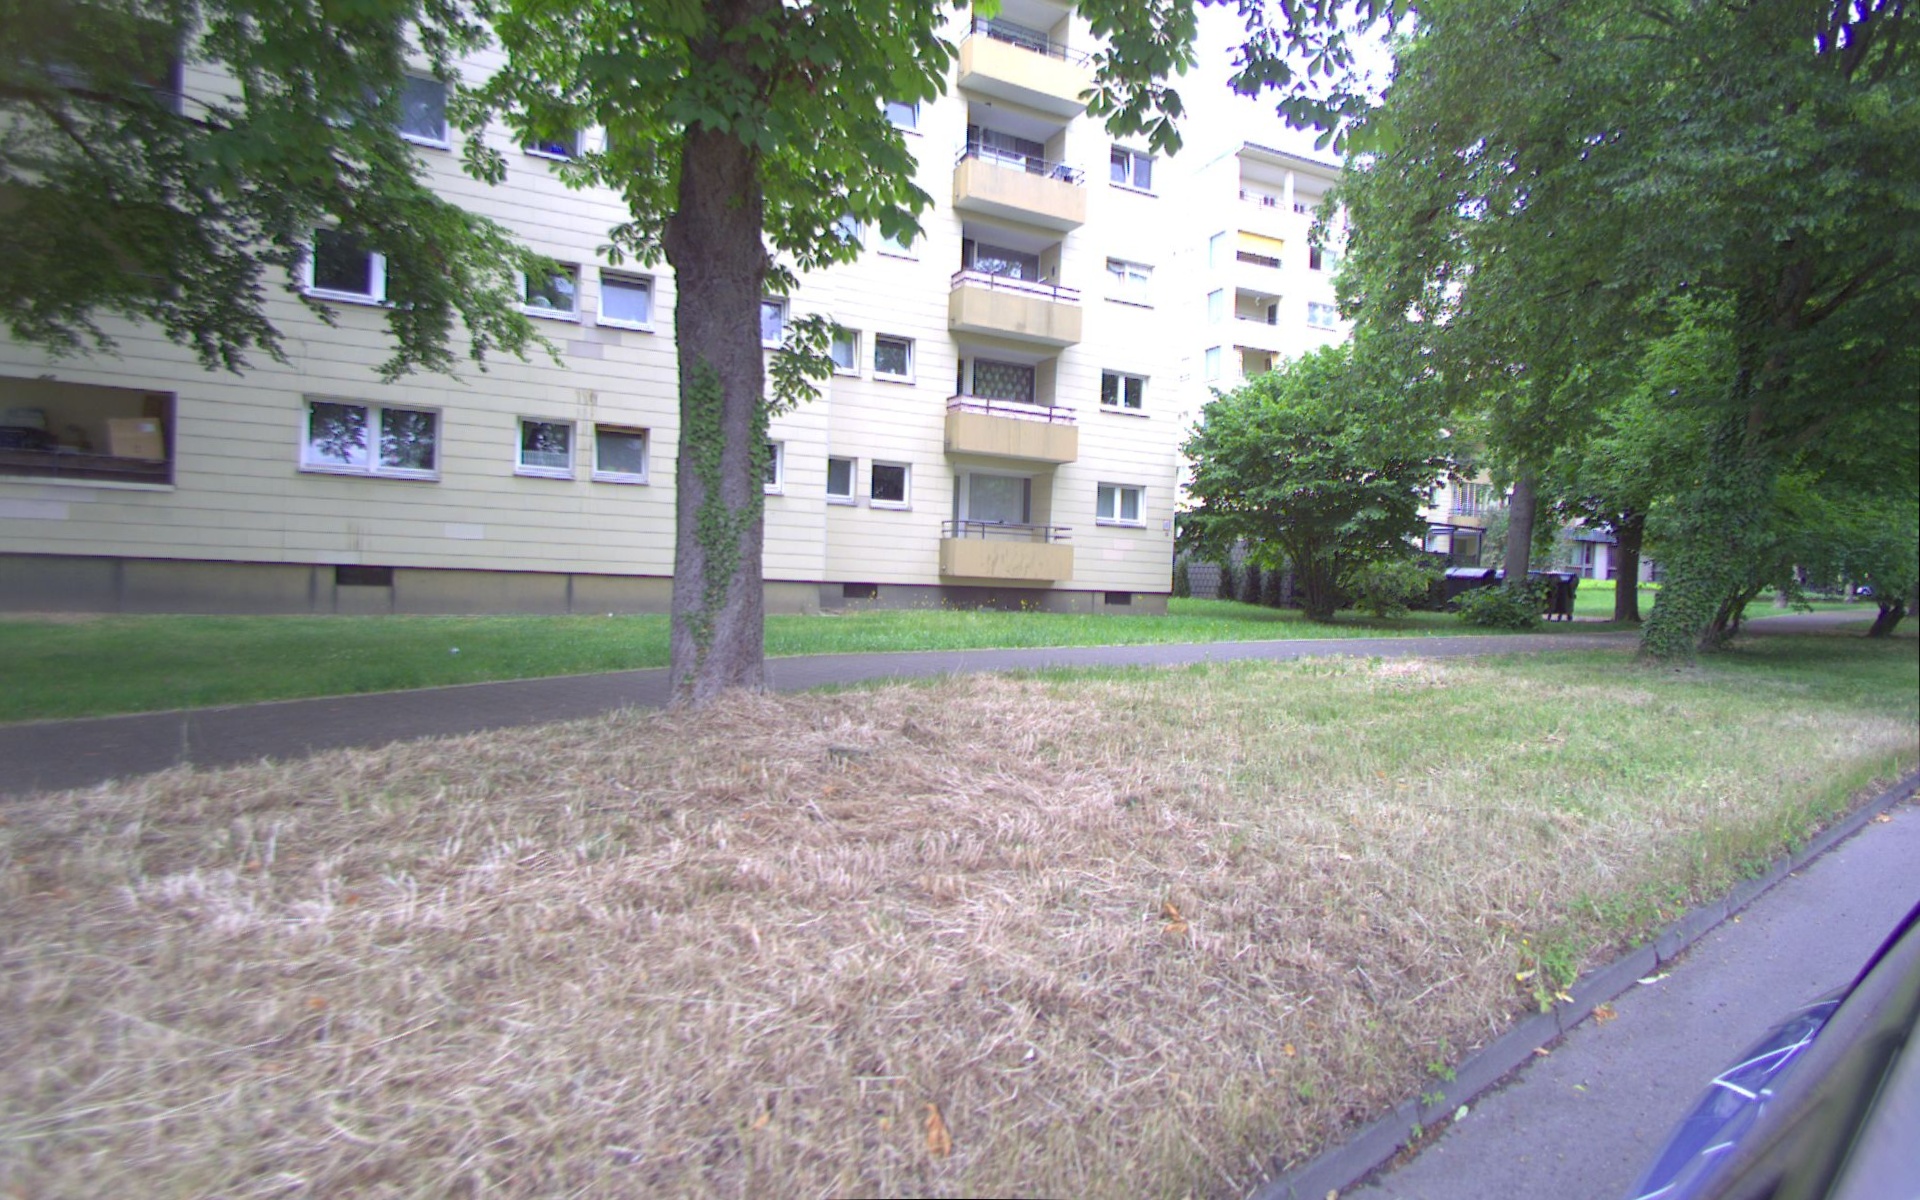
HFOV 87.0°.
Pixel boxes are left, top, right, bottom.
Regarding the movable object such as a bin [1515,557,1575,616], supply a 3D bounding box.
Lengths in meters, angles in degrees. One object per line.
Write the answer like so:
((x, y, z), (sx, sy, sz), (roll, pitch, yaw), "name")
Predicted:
((17.482, -0.419, 30.251), (1.057, 1.661, 1.239), (-2, 5, -42), "movable object such as a bin")

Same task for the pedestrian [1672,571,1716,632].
((17.086, 0.021, 23.554), (0.595, 1.398, 0.688), (-1, 2, -41), "pedestrian")

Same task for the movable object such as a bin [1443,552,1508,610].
((15.587, -0.589, 30.599), (1.003, 1.661, 1.434), (-1, 5, -42), "movable object such as a bin")

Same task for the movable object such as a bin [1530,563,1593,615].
((18.420, -0.353, 30.992), (1.181, 1.492, 1.327), (-2, 5, -42), "movable object such as a bin")

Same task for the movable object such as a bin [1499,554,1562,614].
((16.578, -0.483, 29.439), (1.003, 1.661, 1.277), (-2, 5, -42), "movable object such as a bin")
